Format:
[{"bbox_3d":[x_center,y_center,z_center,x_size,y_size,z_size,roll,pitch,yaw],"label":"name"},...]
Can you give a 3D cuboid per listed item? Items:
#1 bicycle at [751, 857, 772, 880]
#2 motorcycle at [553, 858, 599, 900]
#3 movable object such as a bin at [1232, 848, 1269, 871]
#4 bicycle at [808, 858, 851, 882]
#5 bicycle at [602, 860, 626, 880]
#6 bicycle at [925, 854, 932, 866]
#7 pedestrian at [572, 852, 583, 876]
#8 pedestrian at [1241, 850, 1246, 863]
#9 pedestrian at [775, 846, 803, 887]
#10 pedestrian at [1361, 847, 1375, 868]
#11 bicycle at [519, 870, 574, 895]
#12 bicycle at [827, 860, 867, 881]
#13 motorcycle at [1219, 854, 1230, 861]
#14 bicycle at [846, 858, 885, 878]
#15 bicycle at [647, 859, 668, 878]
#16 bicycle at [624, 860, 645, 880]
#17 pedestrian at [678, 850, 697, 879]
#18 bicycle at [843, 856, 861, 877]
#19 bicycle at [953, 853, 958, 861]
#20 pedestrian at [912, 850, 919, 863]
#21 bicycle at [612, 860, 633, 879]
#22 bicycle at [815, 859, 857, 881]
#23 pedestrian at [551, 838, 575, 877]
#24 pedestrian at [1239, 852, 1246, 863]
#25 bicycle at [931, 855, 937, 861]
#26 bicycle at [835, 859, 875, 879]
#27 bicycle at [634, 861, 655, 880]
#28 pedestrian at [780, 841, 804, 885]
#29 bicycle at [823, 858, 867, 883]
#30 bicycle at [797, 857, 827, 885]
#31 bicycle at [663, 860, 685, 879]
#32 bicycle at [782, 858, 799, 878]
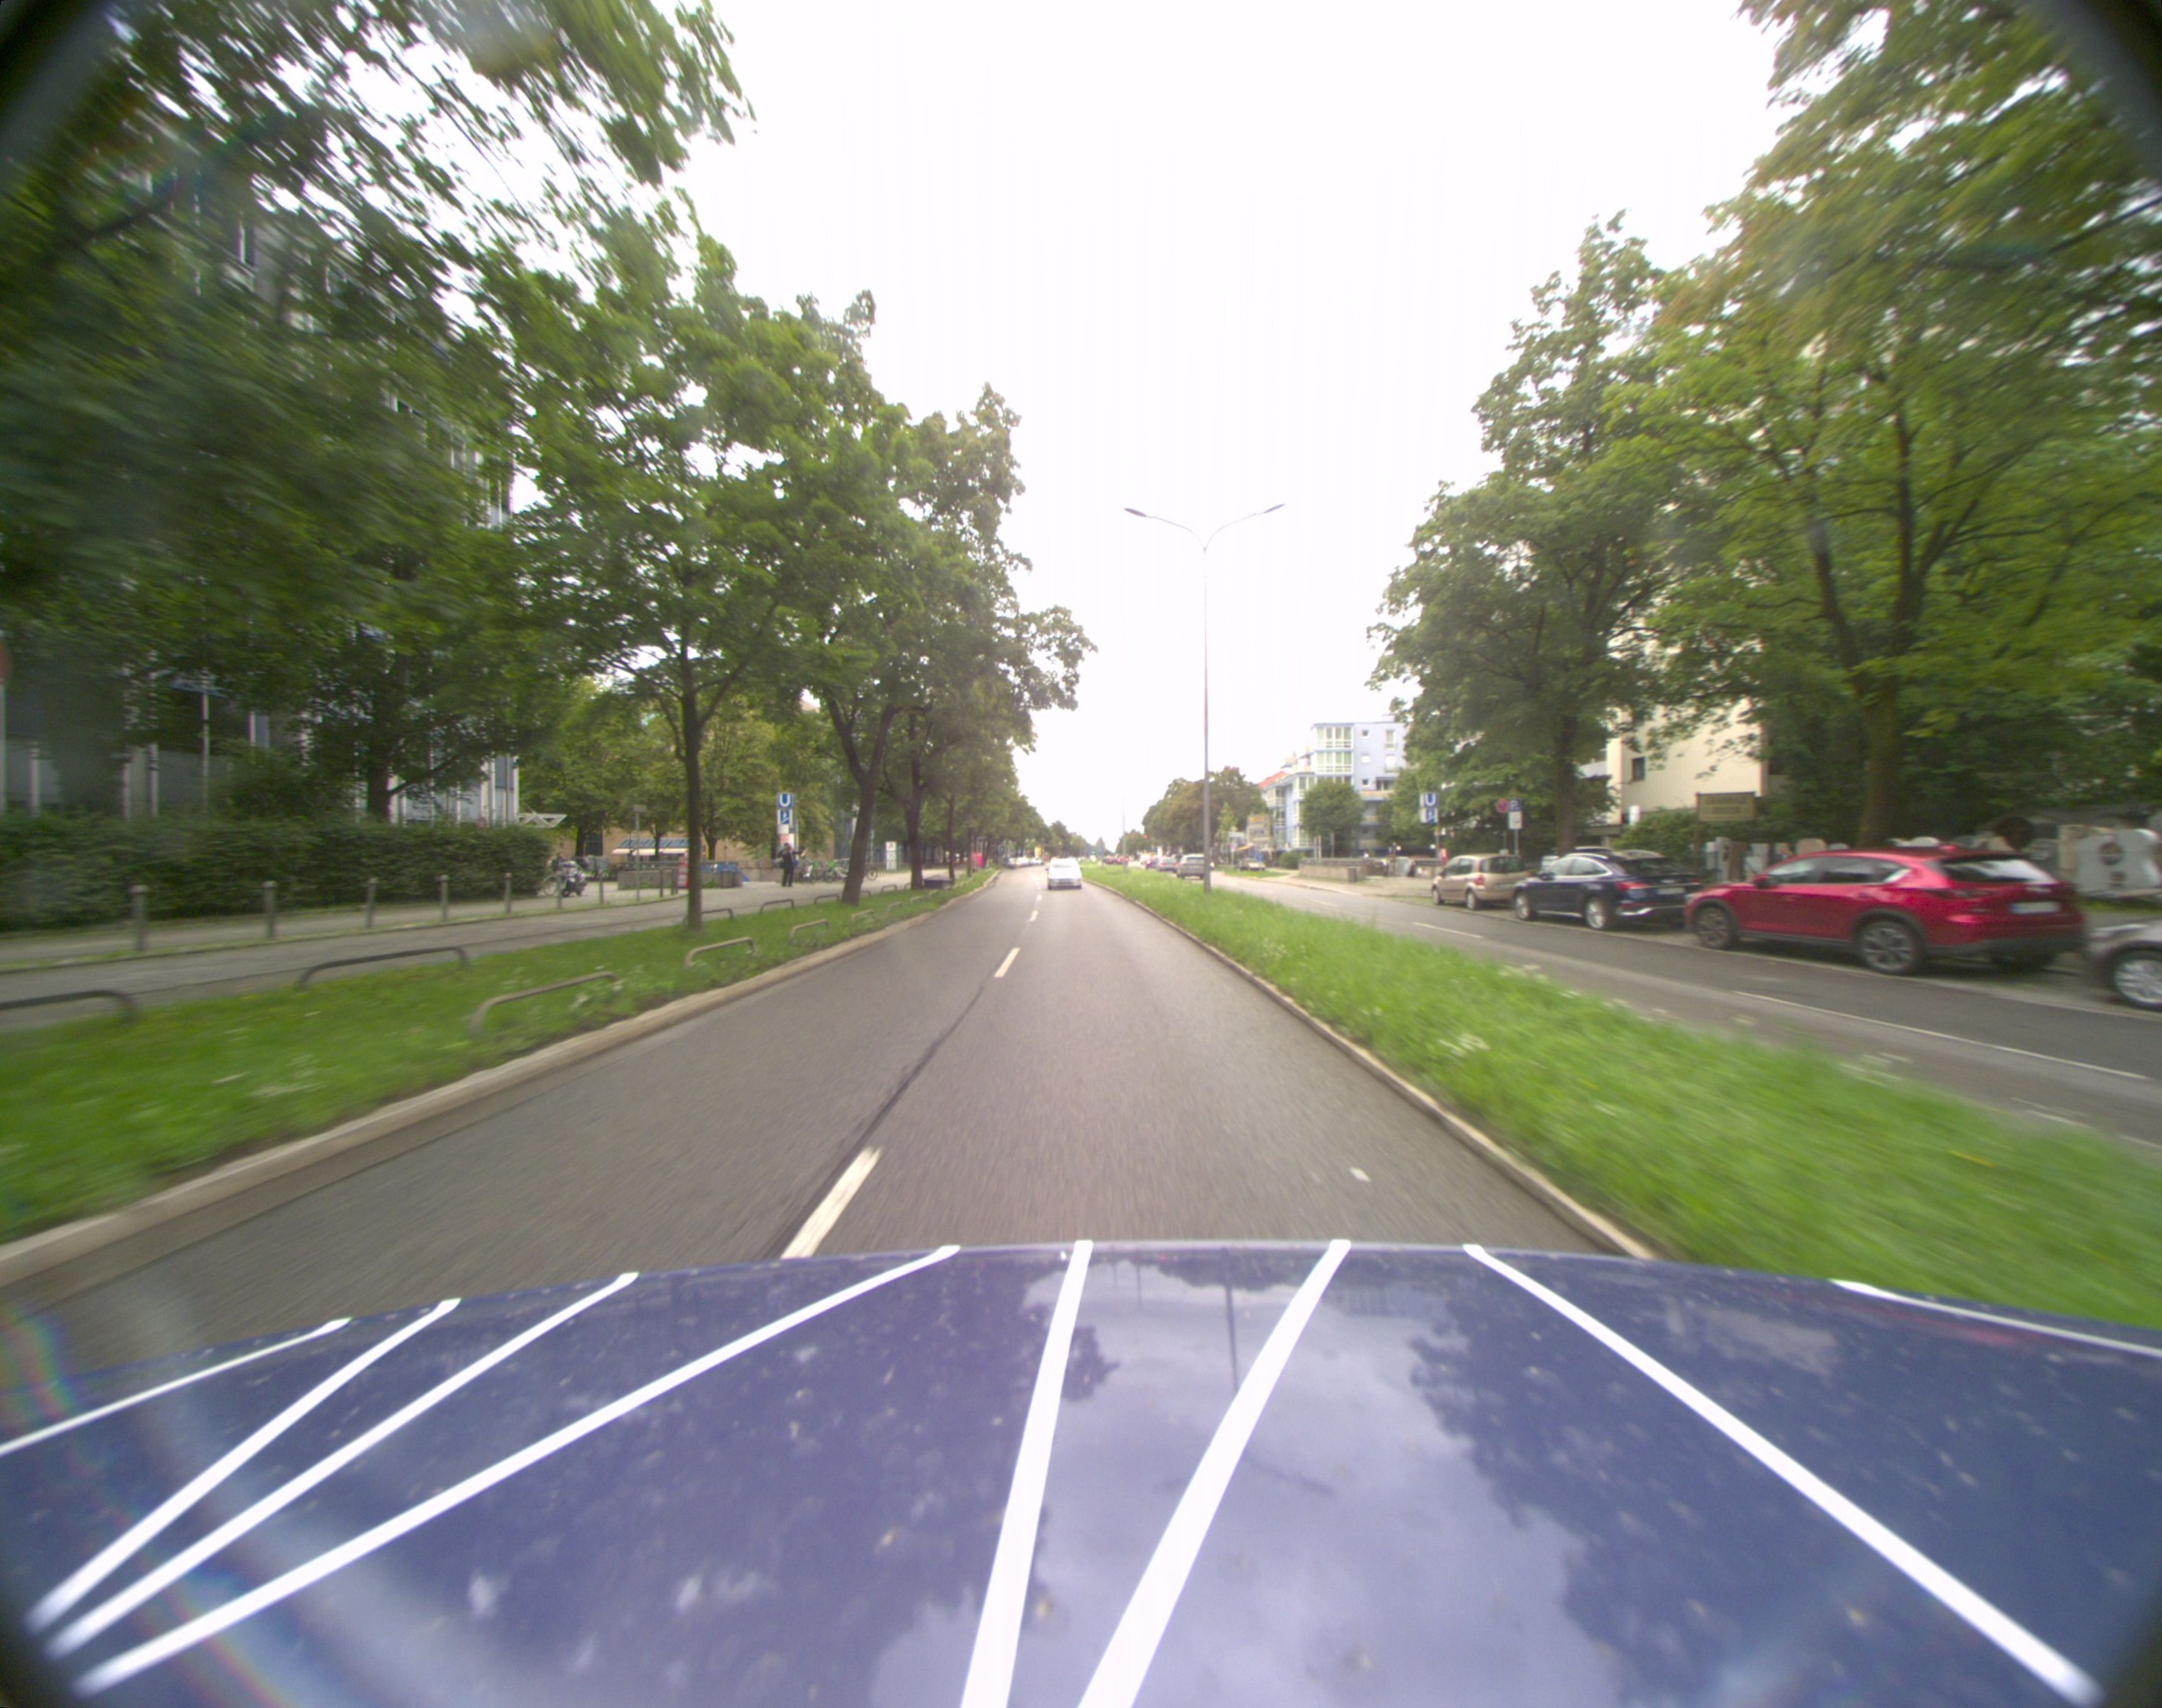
[{"bbox_3d":[-18.555,0.814,44.184,0.510,1.287,2.476,0,0,-9],"label":"bicycle"},{"bbox_3d":[-16.621,0.807,25.062,0.550,1.311,2.071,0,0,-13],"label":"motorcycle"},{"bbox_3d":[14.832,0.491,66.722,2.199,1.941,3.998,0,0,-4],"label":"movable object such as a bin"},{"bbox_3d":[-12.662,0.795,38.293,1.959,1.101,0.579,5,-3,-43],"label":"bicycle"},{"bbox_3d":[-31.654,1.070,51.547,0.554,1.253,2.173,0,0,-9],"label":"bicycle"},{"bbox_3d":[-16.685,0.630,83.118,0.622,1.243,1.919,0,0,-5],"label":"bicycle"},{"bbox_3d":[-31.851,0.631,48.087,0.384,1.483,0.394,0,1,9],"label":"pedestrian"},{"bbox_3d":[21.468,0.322,100.358,0.643,1.794,0.781,0,1,19],"label":"pedestrian"},{"bbox_3d":[-12.116,0.508,31.518,0.784,1.704,0.751,0,0,15],"label":"pedestrian"},{"bbox_3d":[22.702,0.270,60.116,0.670,1.698,1.130,0,0,-4],"label":"pedestrian"},{"bbox_3d":[-18.670,0.993,26.569,0.684,0.848,1.834,0,-1,-3],"label":"bicycle"},{"bbox_3d":[-12.566,0.886,40.791,1.959,1.059,0.578,3,0,-43],"label":"bicycle"},{"bbox_3d":[24.535,0.545,129.598,1.813,1.164,0.464,0,1,-3],"label":"motorcycle"},{"bbox_3d":[-12.372,0.799,43.666,2.037,1.093,0.578,2,1,-44],"label":"bicycle"},{"bbox_3d":[-28.909,1.008,51.847,0.510,1.253,2.173,0,0,-9],"label":"bicycle"},{"bbox_3d":[-30.318,1.073,51.575,0.510,1.253,2.020,0,0,-9],"label":"bicycle"},{"bbox_3d":[-24.405,0.641,47.149,0.687,1.762,0.770,0,0,12],"label":"pedestrian"},{"bbox_3d":[-13.396,0.716,44.543,0.489,1.182,1.954,0,0,-1],"label":"bicycle"},{"bbox_3d":[-20.880,0.478,126.789,0.512,1.185,2.141,0,1,0],"label":"bicycle"},{"bbox_3d":[-21.963,0.356,100.849,0.738,1.636,0.645,2,1,8],"label":"pedestrian"},{"bbox_3d":[-31.036,1.032,51.490,0.510,1.253,1.953,0,0,-9],"label":"bicycle"},{"bbox_3d":[-12.718,0.824,39.505,1.959,1.077,0.595,3,-2,-43],"label":"bicycle"},{"bbox_3d":[-22.661,0.155,33.241,0.651,1.668,0.701,0,1,34],"label":"pedestrian"},{"bbox_3d":[23.357,0.557,109.982,0.974,1.593,0.768,0,1,19],"label":"pedestrian"},{"bbox_3d":[-24.212,0.629,124.819,0.571,0.935,2.064,0,1,0],"label":"bicycle"},{"bbox_3d":[-12.485,0.831,42.019,2.045,1.083,0.603,1,2,-43],"label":"bicycle"},{"bbox_3d":[-29.729,1.082,51.790,0.510,1.253,2.173,0,0,-9],"label":"bicycle"},{"bbox_3d":[-12.371,0.381,32.507,0.652,1.888,0.750,0,1,14],"label":"pedestrian"},{"bbox_3d":[-11.767,0.812,37.883,1.958,1.182,0.595,3,-1,-32],"label":"bicycle"},{"bbox_3d":[-12.369,0.782,34.985,0.531,1.219,1.863,2,-1,6],"label":"bicycle"},{"bbox_3d":[-27.660,1.011,51.662,0.608,1.253,2.054,0,0,-6],"label":"bicycle"},{"bbox_3d":[-17.230,0.810,45.139,0.513,1.182,2.140,0,0,-9],"label":"bicycle"}]
